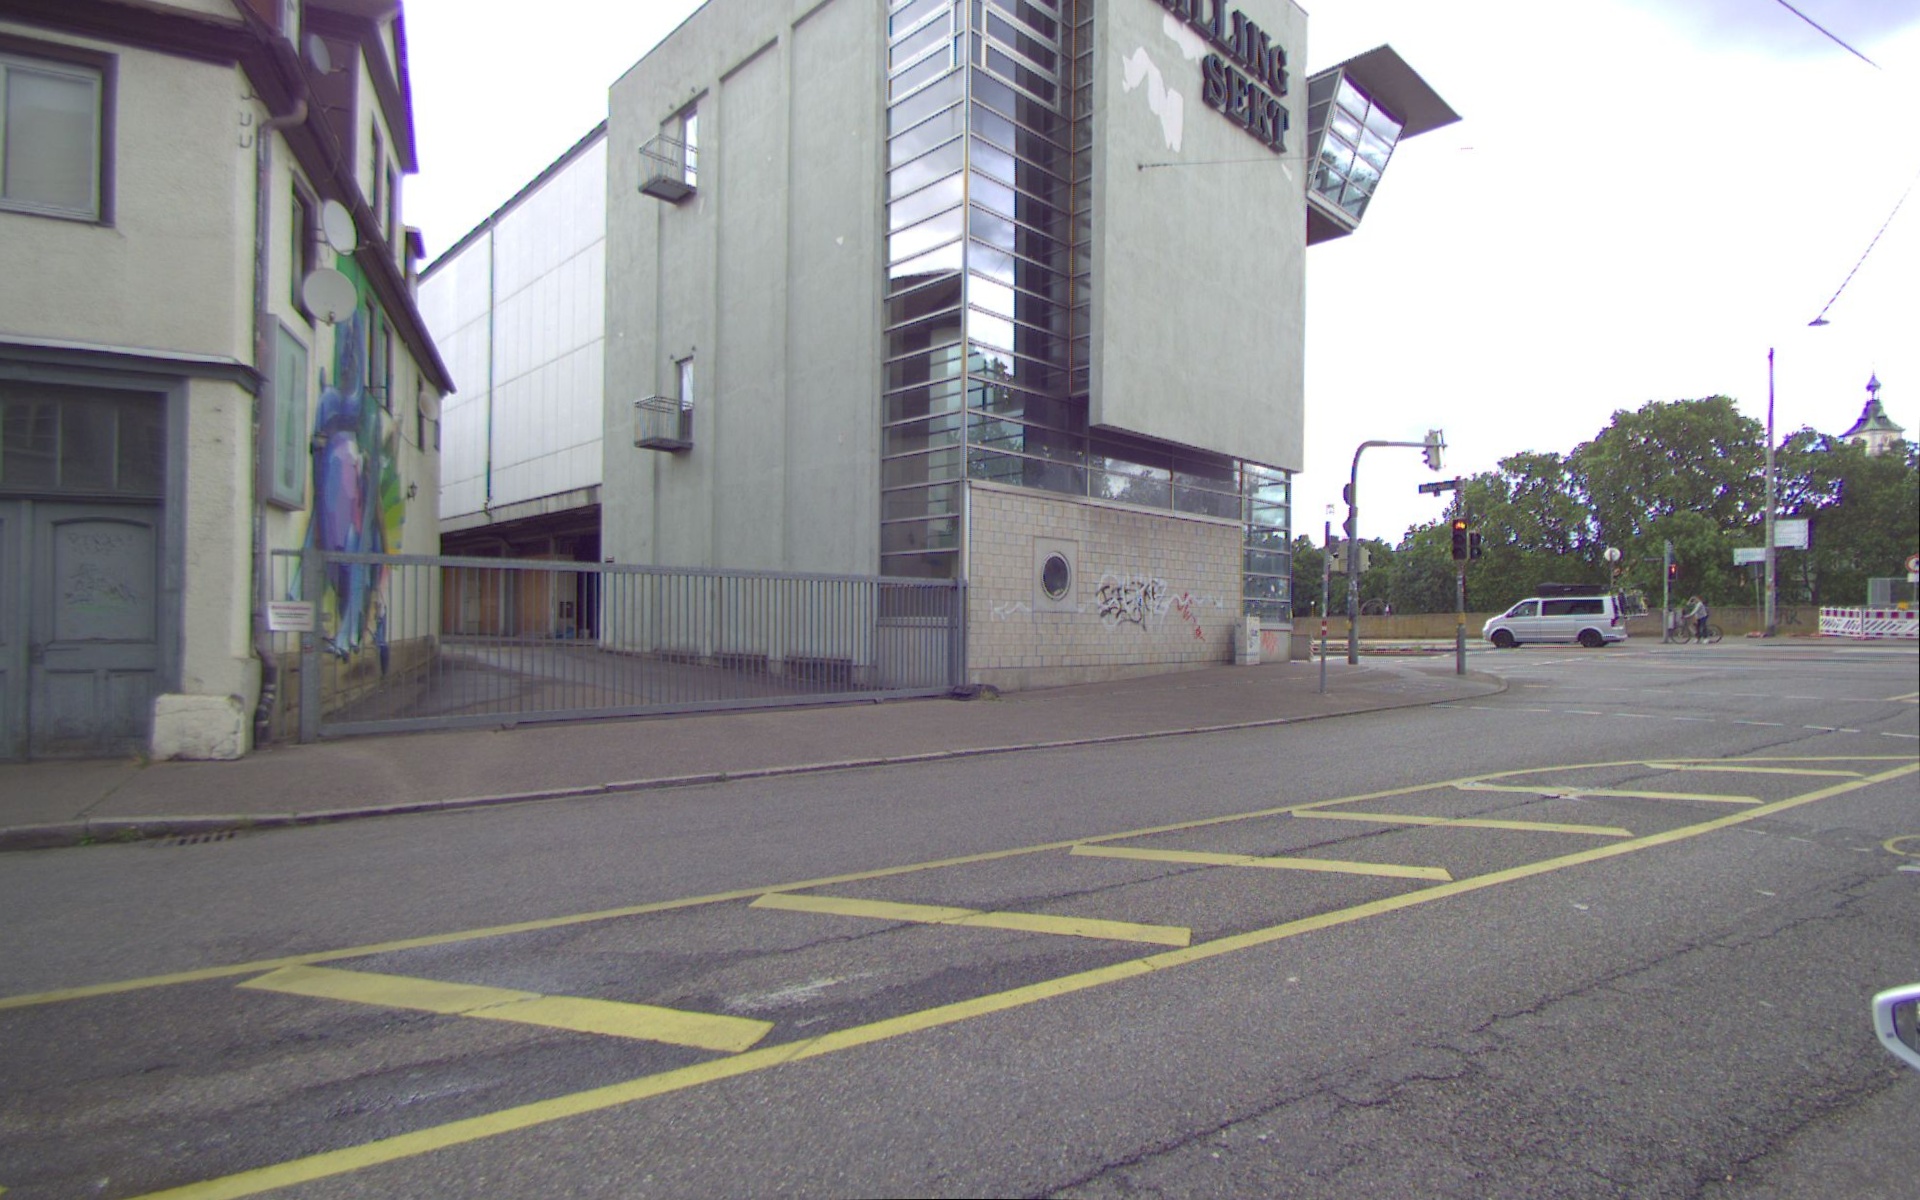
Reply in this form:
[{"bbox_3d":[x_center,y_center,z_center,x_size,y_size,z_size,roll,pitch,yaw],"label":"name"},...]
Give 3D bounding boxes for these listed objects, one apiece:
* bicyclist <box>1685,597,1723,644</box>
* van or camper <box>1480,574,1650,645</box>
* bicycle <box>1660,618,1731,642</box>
[{"bbox_3d":[28.615,0.780,38.647,0.985,1.767,0.755,0,0,19],"label":"bicyclist"},{"bbox_3d":[23.251,0.457,38.773,5.334,2.546,2.025,-2,-4,43],"label":"van or camper"},{"bbox_3d":[28.488,1.152,38.941,2.096,0.904,0.760,-1,0,20],"label":"bicycle"}]
